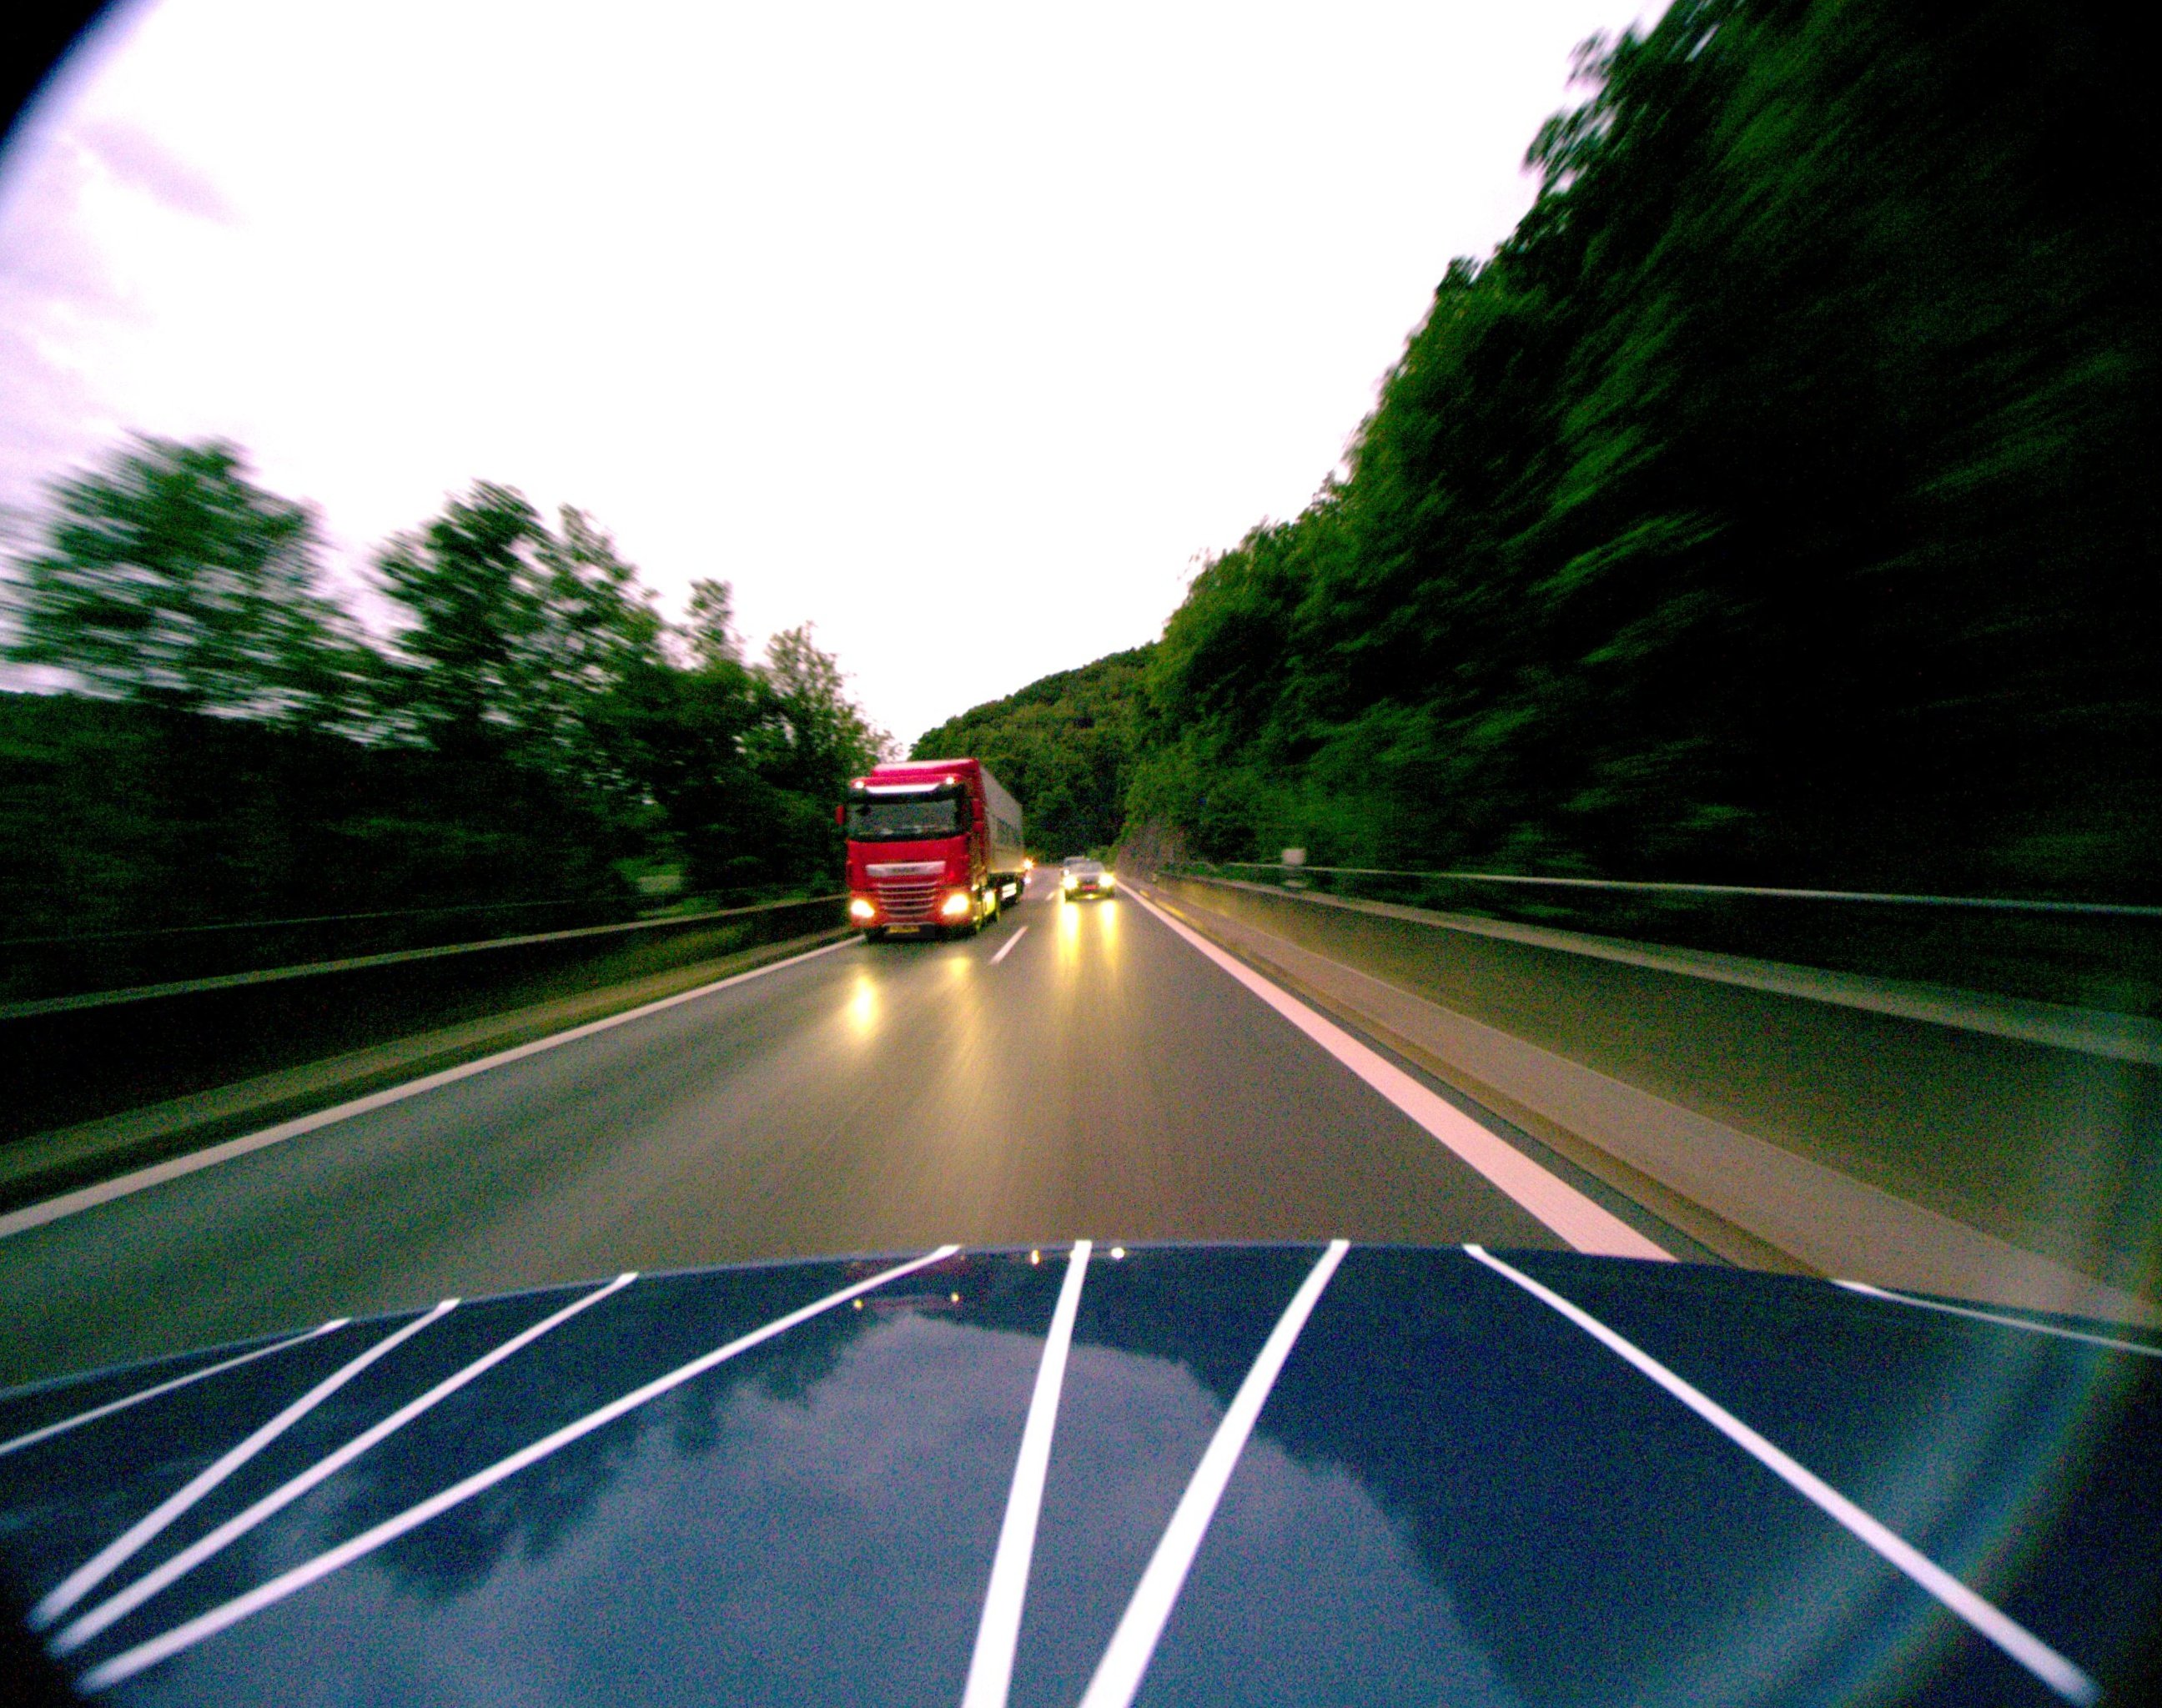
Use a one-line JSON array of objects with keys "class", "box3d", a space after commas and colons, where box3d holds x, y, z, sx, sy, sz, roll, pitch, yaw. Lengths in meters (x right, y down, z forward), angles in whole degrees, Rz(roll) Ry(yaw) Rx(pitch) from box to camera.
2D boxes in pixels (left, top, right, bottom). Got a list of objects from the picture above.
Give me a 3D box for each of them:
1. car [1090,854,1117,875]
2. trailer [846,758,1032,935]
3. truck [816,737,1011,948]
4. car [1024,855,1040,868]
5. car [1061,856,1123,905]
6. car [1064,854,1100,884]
[{"class": "car", "box3d": [1.747, 0.829, 59.977, 1.998, 1.499, 4.001, 1, -1, 1]}, {"class": "trailer", "box3d": [-3.720, -0.111, 24.584, 3.105, 3.946, 14.219, -2, 0, 0]}, {"class": "truck", "box3d": [-3.637, -0.223, 18.362, 3.077, 4.120, 6.447, -2, 0, 1]}, {"class": "car", "box3d": [-7.554, 1.140, 115.891, 2.000, 1.761, 3.997, 2, -1, -9]}, {"class": "car", "box3d": [0.464, 0.889, 27.596, 1.998, 1.499, 4.000, -3, 1, 2]}, {"class": "car", "box3d": [0.090, 0.865, 46.045, 1.998, 1.630, 4.000, -3, 0, 1]}]
